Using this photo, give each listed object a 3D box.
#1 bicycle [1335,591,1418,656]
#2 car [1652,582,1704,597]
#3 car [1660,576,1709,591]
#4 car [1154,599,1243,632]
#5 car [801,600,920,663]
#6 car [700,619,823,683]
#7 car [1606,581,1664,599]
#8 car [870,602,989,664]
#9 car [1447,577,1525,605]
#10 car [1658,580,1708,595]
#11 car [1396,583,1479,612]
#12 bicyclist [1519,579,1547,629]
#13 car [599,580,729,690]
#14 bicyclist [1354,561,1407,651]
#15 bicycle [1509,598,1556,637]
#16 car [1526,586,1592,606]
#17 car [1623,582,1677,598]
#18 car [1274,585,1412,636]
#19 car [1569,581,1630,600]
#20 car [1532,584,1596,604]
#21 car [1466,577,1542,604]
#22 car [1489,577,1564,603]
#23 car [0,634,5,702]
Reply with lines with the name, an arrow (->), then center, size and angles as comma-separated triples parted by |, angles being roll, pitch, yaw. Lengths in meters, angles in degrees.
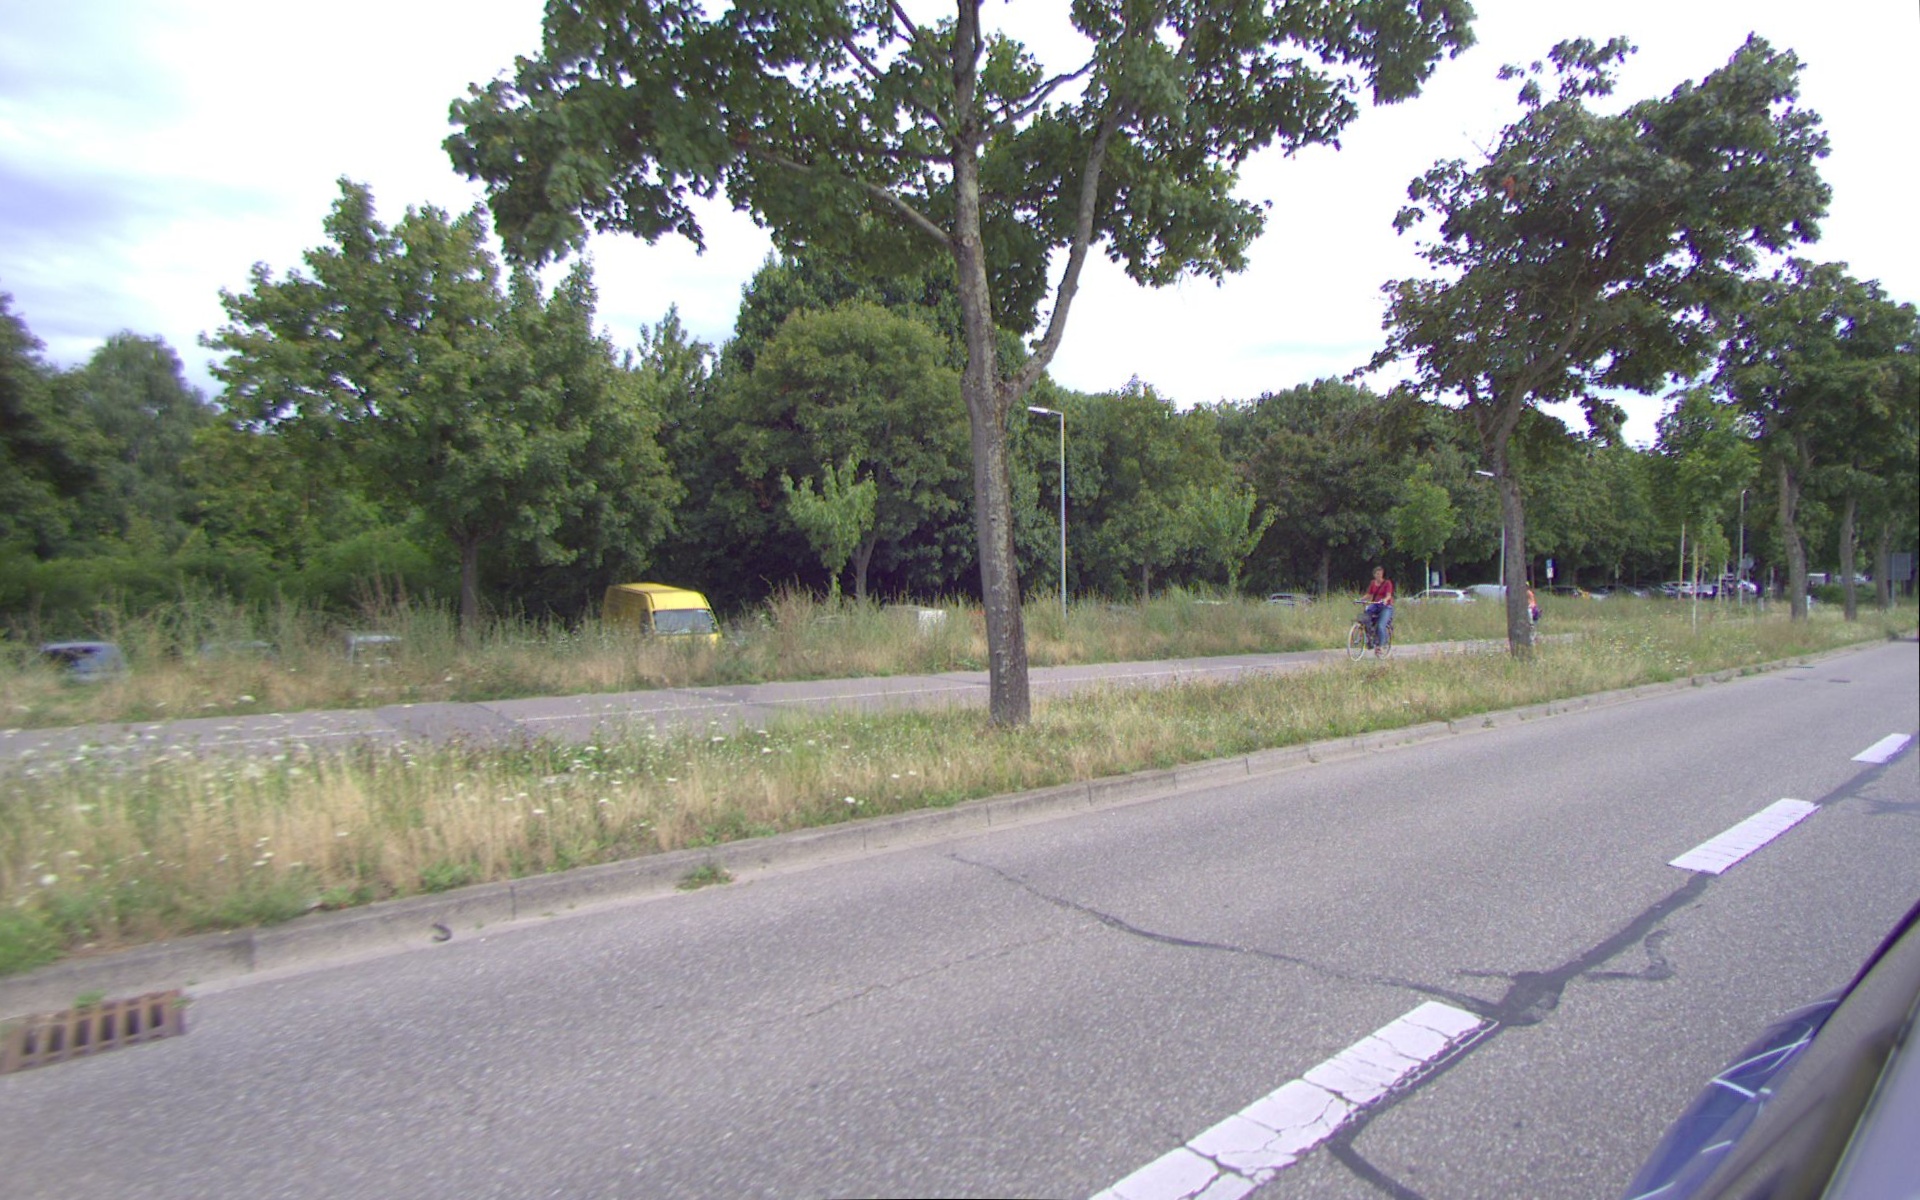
bicycle -> 7.977, 0.428, 19.343 | 2.193, 1.162, 0.514 | 0, 2, -41
car -> 71.850, -1.079, 101.292 | 3.988, 1.383, 1.593 | 3, 3, 44
car -> 75.605, -1.717, 105.598 | 3.988, 1.383, 1.593 | 3, 3, 44
car -> 9.951, 0.630, 42.310 | 3.438, 1.206, 1.336 | 2, 1, 44
car -> -3.361, 0.982, 33.638 | 1.966, 1.816, 3.994 | 0, 2, -42
car -> -5.964, 1.442, 30.062 | 1.964, 1.526, 3.997 | 0, 2, -39
car -> 59.378, -0.890, 89.095 | 3.988, 1.383, 1.593 | 3, 3, 44
car -> -1.098, 1.062, 34.857 | 1.966, 1.816, 3.994 | 0, 2, -42
car -> 32.847, -0.585, 63.274 | 3.988, 1.575, 1.625 | 3, 3, 44
car -> 73.816, -1.311, 103.322 | 3.988, 1.383, 1.593 | 3, 3, 44
car -> 27.551, -0.170, 58.449 | 3.988, 1.461, 1.625 | 3, 3, 44
bicyclist -> 15.197, 0.103, 26.850 | 0.442, 1.298, 0.539 | 0, 0, -41
car -> -8.208, 0.836, 27.786 | 1.890, 2.703, 4.544 | 1, 1, -37
bicyclist -> 8.061, 0.102, 19.400 | 0.767, 1.678, 0.653 | 0, 0, -41
bicycle -> 15.211, 0.443, 26.860 | 1.751, 0.976, 0.514 | 0, 2, -41
car -> 45.267, -0.329, 76.530 | 3.988, 1.383, 1.593 | 3, 3, 44
car -> 64.454, -0.935, 94.590 | 3.988, 1.383, 1.593 | 3, 3, 44
car -> 12.172, 0.283, 32.303 | 3.801, 1.392, 1.513 | 3, 3, 44
car -> 52.406, -0.807, 82.948 | 3.988, 1.383, 1.593 | 3, 3, 44
car -> 47.017, -0.489, 78.776 | 3.988, 1.383, 1.593 | 3, 3, 44
car -> 35.218, -0.652, 65.559 | 1.773, 1.605, 3.992 | 0, 3, -43
car -> 37.265, -0.682, 66.633 | 1.773, 1.605, 3.992 | 0, 3, -43
car -> -20.030, 1.503, 19.500 | 1.656, 1.396, 3.766 | 0, 2, -32
